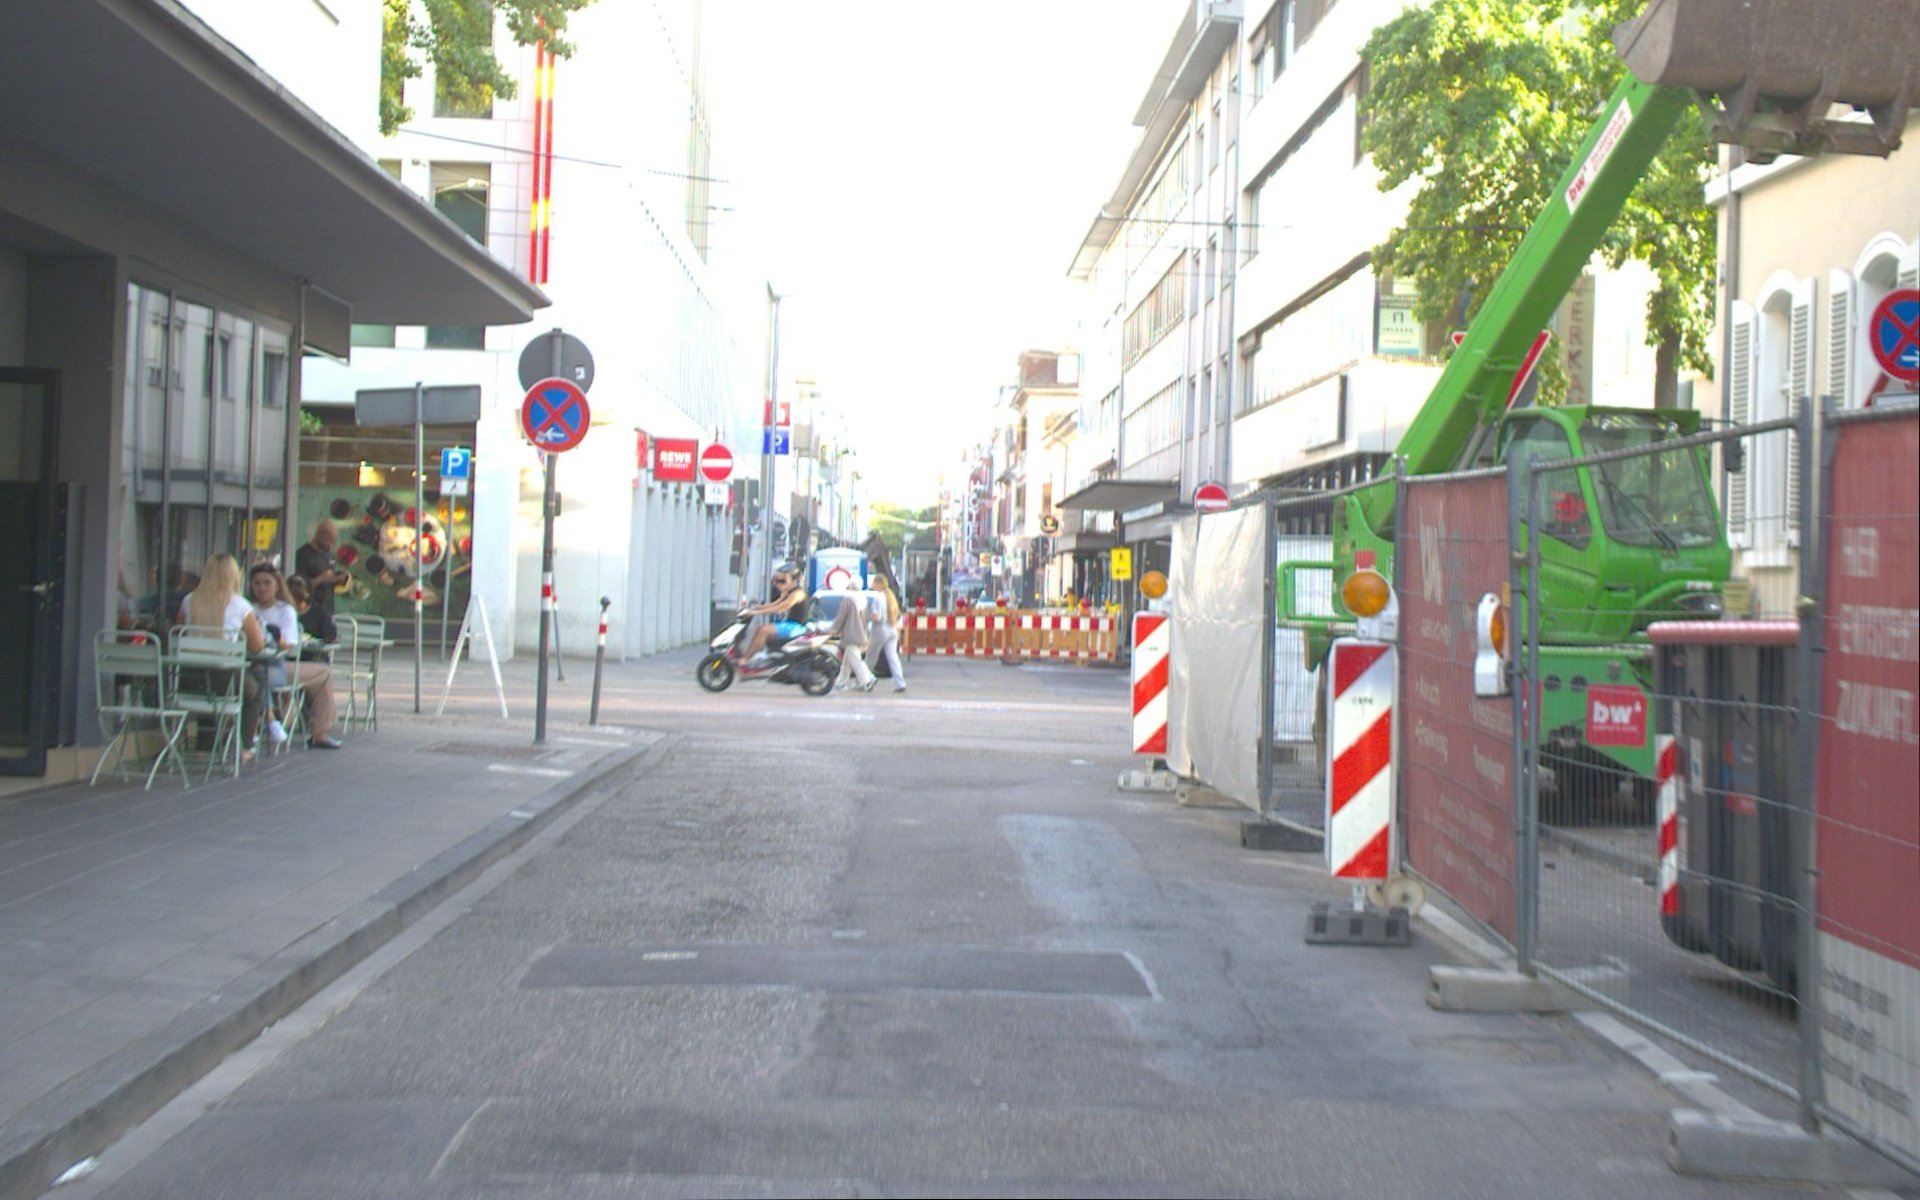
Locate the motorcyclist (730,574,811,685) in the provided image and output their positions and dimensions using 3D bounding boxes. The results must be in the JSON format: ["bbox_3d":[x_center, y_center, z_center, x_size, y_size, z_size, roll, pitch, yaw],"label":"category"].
[{"bbox_3d":[-2.422,0.373,43.876,0.894,1.384,0.672,2,0,-11],"label":"motorcyclist"}]

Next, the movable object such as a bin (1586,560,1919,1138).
[{"bbox_3d":[4.087,0.758,10.312,2.735,1.633,7.553,3,0,-2],"label":"movable object such as a bin"}]

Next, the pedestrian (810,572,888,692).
[{"bbox_3d":[-1.528,0.441,47.312,0.610,1.622,0.872,1,0,-43],"label":"pedestrian"}]

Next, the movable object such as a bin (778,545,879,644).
[{"bbox_3d":[-2.773,-0.132,73.266,1.993,2.007,4.000,1,0,0],"label":"movable object such as a bin"}]

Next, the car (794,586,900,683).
[{"bbox_3d":[-1.931,0.563,58.006,1.629,1.545,3.143,1,0,-4],"label":"car"}]

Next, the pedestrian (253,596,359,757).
[{"bbox_3d":[-4.718,0.545,24.833,0.573,1.110,0.713,4,0,-1],"label":"pedestrian"}]

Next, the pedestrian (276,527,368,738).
[{"bbox_3d":[-5.164,0.261,27.853,0.504,1.662,0.687,4,0,1],"label":"pedestrian"}]

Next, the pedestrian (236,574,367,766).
[{"bbox_3d":[-4.571,0.479,23.902,0.702,1.271,0.713,4,0,-1],"label":"pedestrian"}]

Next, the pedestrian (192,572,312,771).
[{"bbox_3d":[-4.708,0.466,22.895,0.573,1.271,0.713,4,0,-1],"label":"pedestrian"}]

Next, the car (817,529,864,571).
[{"bbox_3d":[-5.305,-2.215,153.024,1.993,1.770,4.000,1,0,-1],"label":"car"}]

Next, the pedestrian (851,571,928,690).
[{"bbox_3d":[-0.977,0.420,47.662,0.610,1.622,0.872,1,0,-43],"label":"pedestrian"}]

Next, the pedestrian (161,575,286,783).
[{"bbox_3d":[-4.700,0.493,21.964,0.573,1.271,0.713,4,0,-1],"label":"pedestrian"}]

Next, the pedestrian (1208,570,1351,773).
[{"bbox_3d":[2.936,0.657,31.618,1.071,1.829,0.698,1,0,-21],"label":"pedestrian"}]

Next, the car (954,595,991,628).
[{"bbox_3d":[0.700,0.655,197.314,1.993,1.770,4.000,1,0,-1],"label":"car"}]

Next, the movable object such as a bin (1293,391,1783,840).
[{"bbox_3d":[3.919,0.085,24.260,2.605,2.829,4.450,1,0,-1],"label":"movable object such as a bin"}]

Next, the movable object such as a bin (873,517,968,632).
[{"bbox_3d":[-0.979,-0.614,83.469,2.156,2.654,4.573,2,0,-1],"label":"movable object such as a bin"}]

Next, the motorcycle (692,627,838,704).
[{"bbox_3d":[-2.489,0.834,43.837,1.753,0.916,0.642,2,0,-11],"label":"motorcycle"}]
